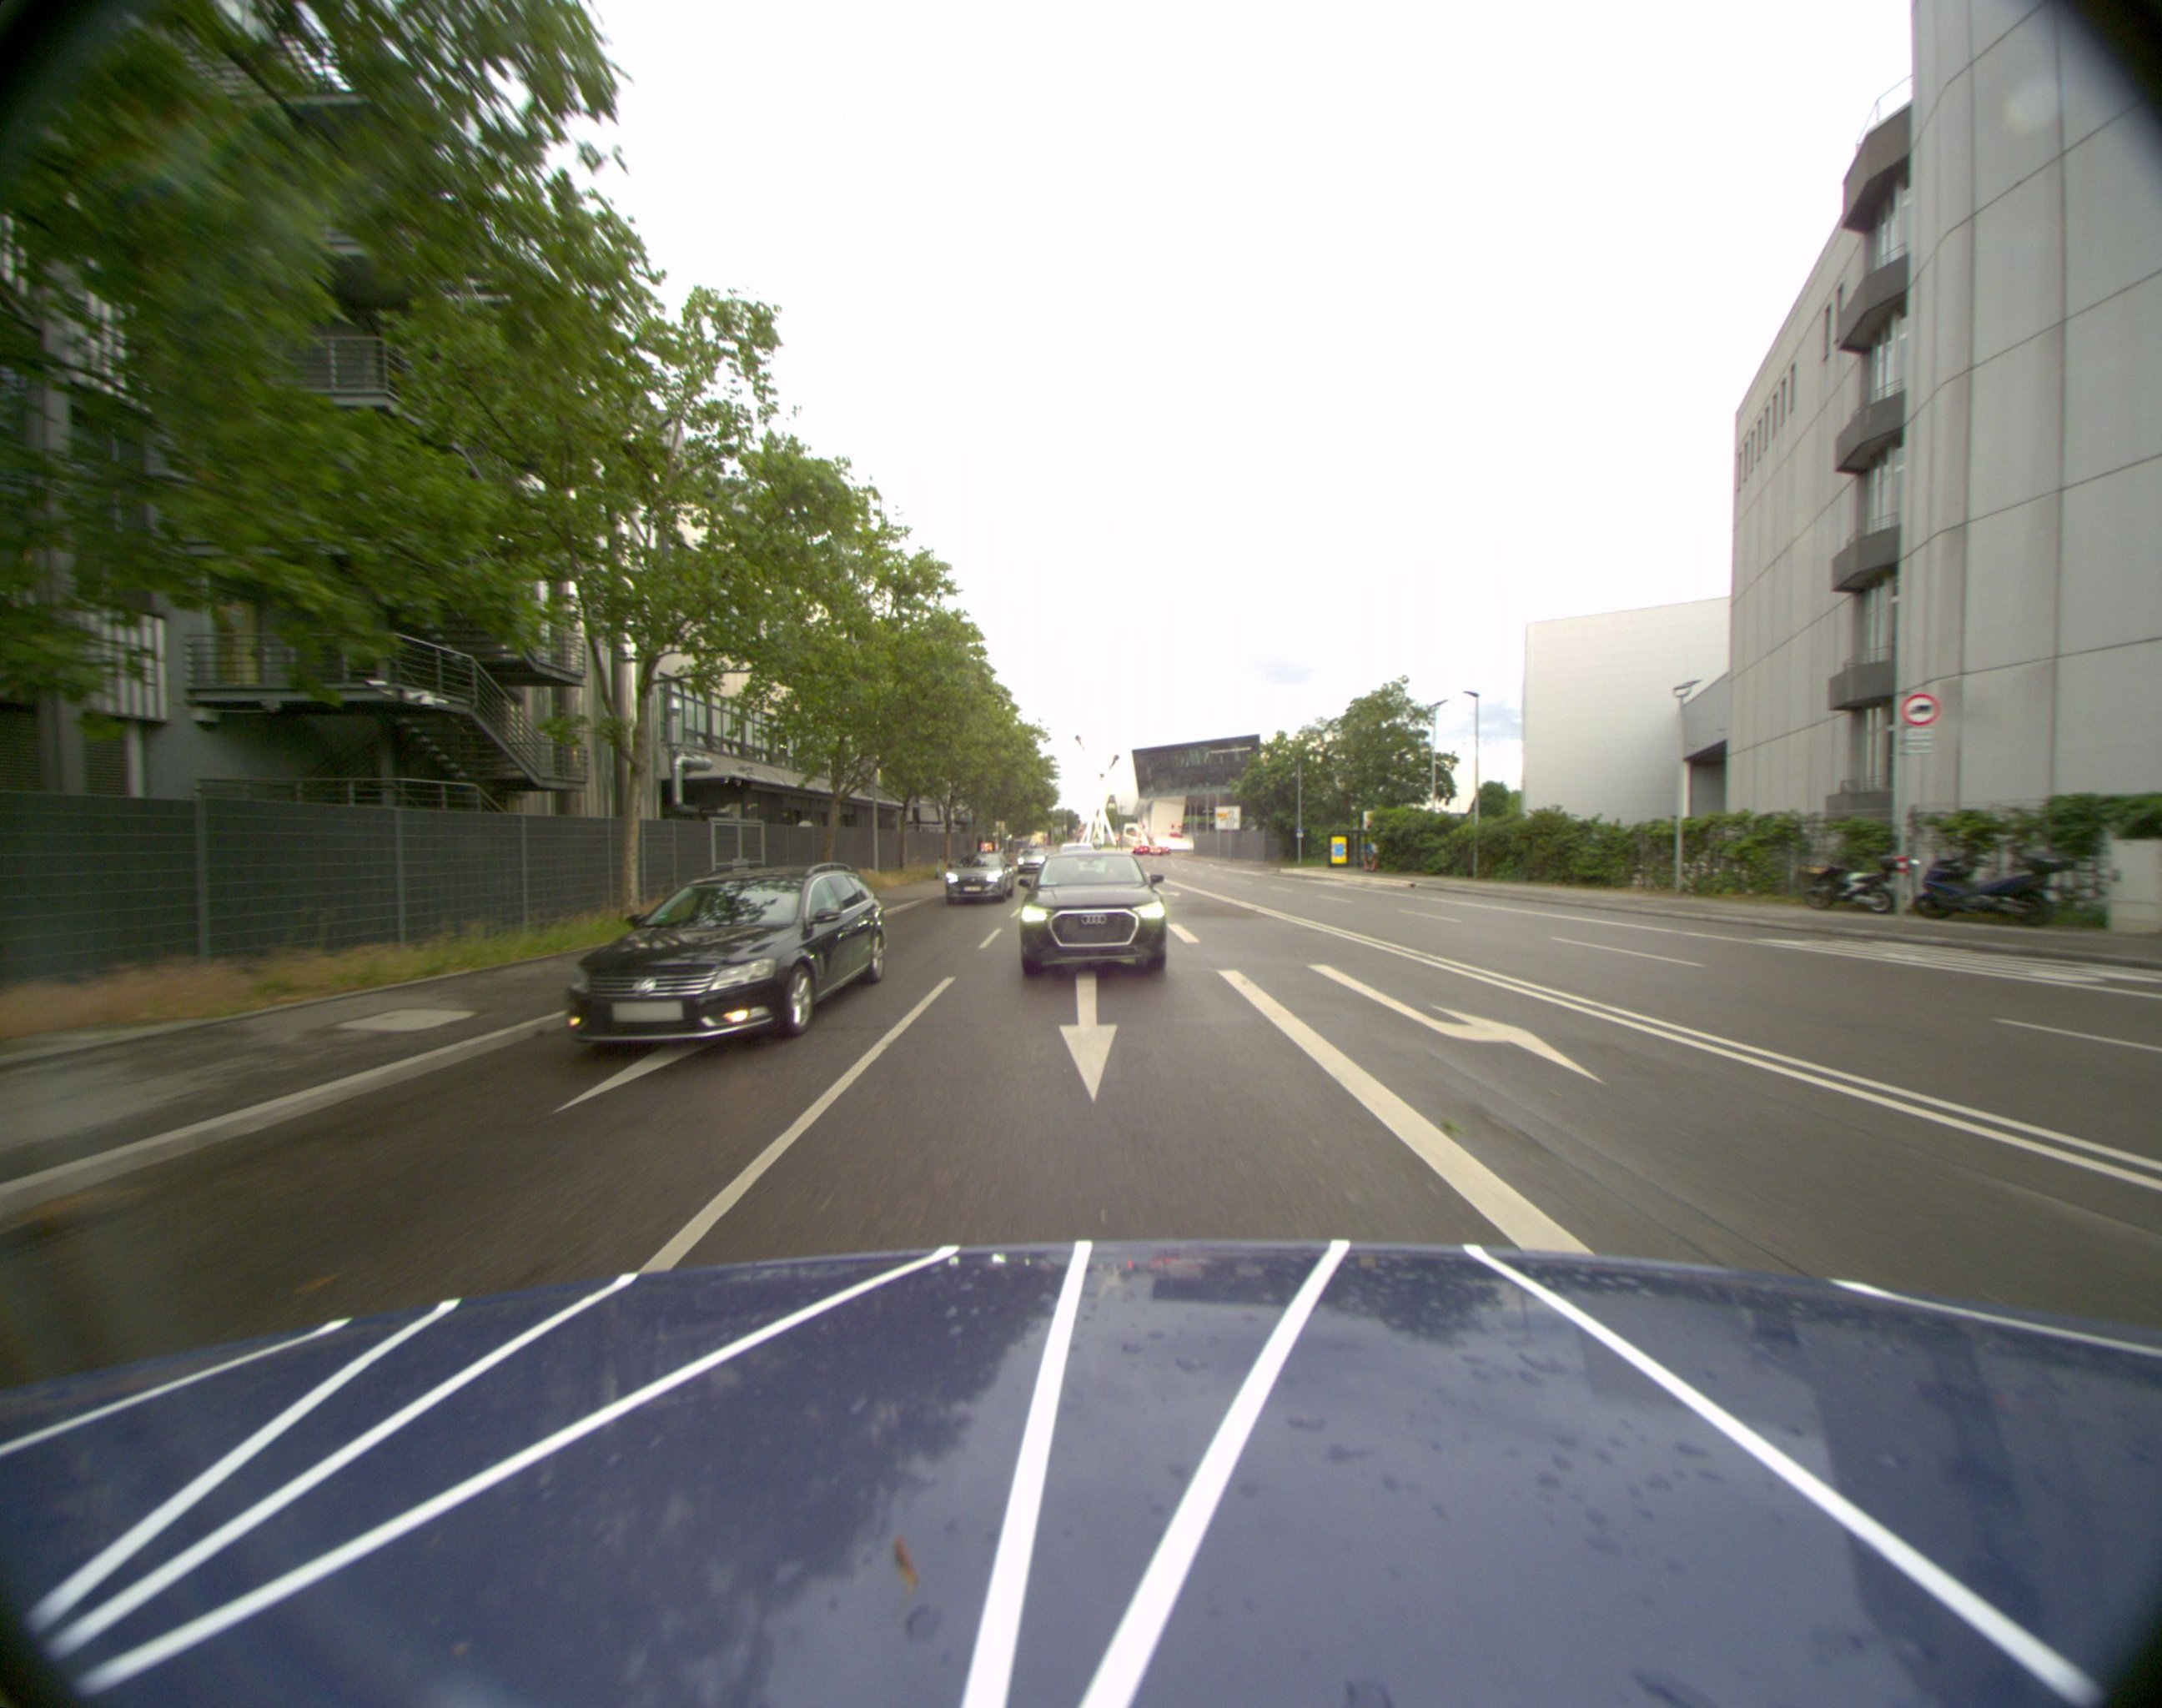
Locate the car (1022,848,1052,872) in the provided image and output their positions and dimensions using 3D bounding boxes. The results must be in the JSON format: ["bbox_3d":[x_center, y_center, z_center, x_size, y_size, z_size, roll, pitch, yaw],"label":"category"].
[{"bbox_3d":[-3.028,0.393,52.908,1.820,1.571,4.331,-1,1,0],"label":"car"}]

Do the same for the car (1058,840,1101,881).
[{"bbox_3d":[-0.094,0.272,38.429,2.035,1.920,4.331,-1,1,0],"label":"car"}]

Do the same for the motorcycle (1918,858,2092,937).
[{"bbox_3d":[16.582,0.732,13.739,0.626,1.260,2.171,1,1,6],"label":"motorcycle"}]

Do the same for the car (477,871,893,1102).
[{"bbox_3d":[-3.317,0.976,7.562,1.749,1.422,4.516,-1,1,0],"label":"car"}]

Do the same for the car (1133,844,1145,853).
[{"bbox_3d":[9.829,-0.952,127.978,1.776,1.580,4.485,0,1,2],"label":"car"}]

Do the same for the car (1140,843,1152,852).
[{"bbox_3d":[11.496,-1.089,134.534,1.776,1.580,4.485,0,1,2],"label":"car"}]

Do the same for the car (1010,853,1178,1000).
[{"bbox_3d":[0.138,0.794,11.138,1.820,1.536,5.607,-1,1,0],"label":"car"}]

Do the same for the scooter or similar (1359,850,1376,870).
[{"bbox_3d":[16.302,0.315,43.222,0.394,1.123,1.569,0,1,1],"label":"scooter or similar"}]

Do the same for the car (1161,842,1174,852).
[{"bbox_3d":[15.110,-1.211,133.019,1.776,1.580,4.485,0,1,2],"label":"car"}]

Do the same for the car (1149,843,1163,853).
[{"bbox_3d":[12.381,-1.029,126.063,2.036,1.580,4.485,0,1,2],"label":"car"}]

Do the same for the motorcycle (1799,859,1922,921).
[{"bbox_3d":[16.764,0.735,16.423,0.626,1.208,1.968,0,1,1],"label":"motorcycle"}]

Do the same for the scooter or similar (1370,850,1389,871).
[{"bbox_3d":[16.316,0.337,41.535,0.394,1.123,1.569,0,1,1],"label":"scooter or similar"}]

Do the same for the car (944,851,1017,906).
[{"bbox_3d":[-3.187,0.736,24.937,1.825,1.581,4.331,-1,1,0],"label":"car"}]
